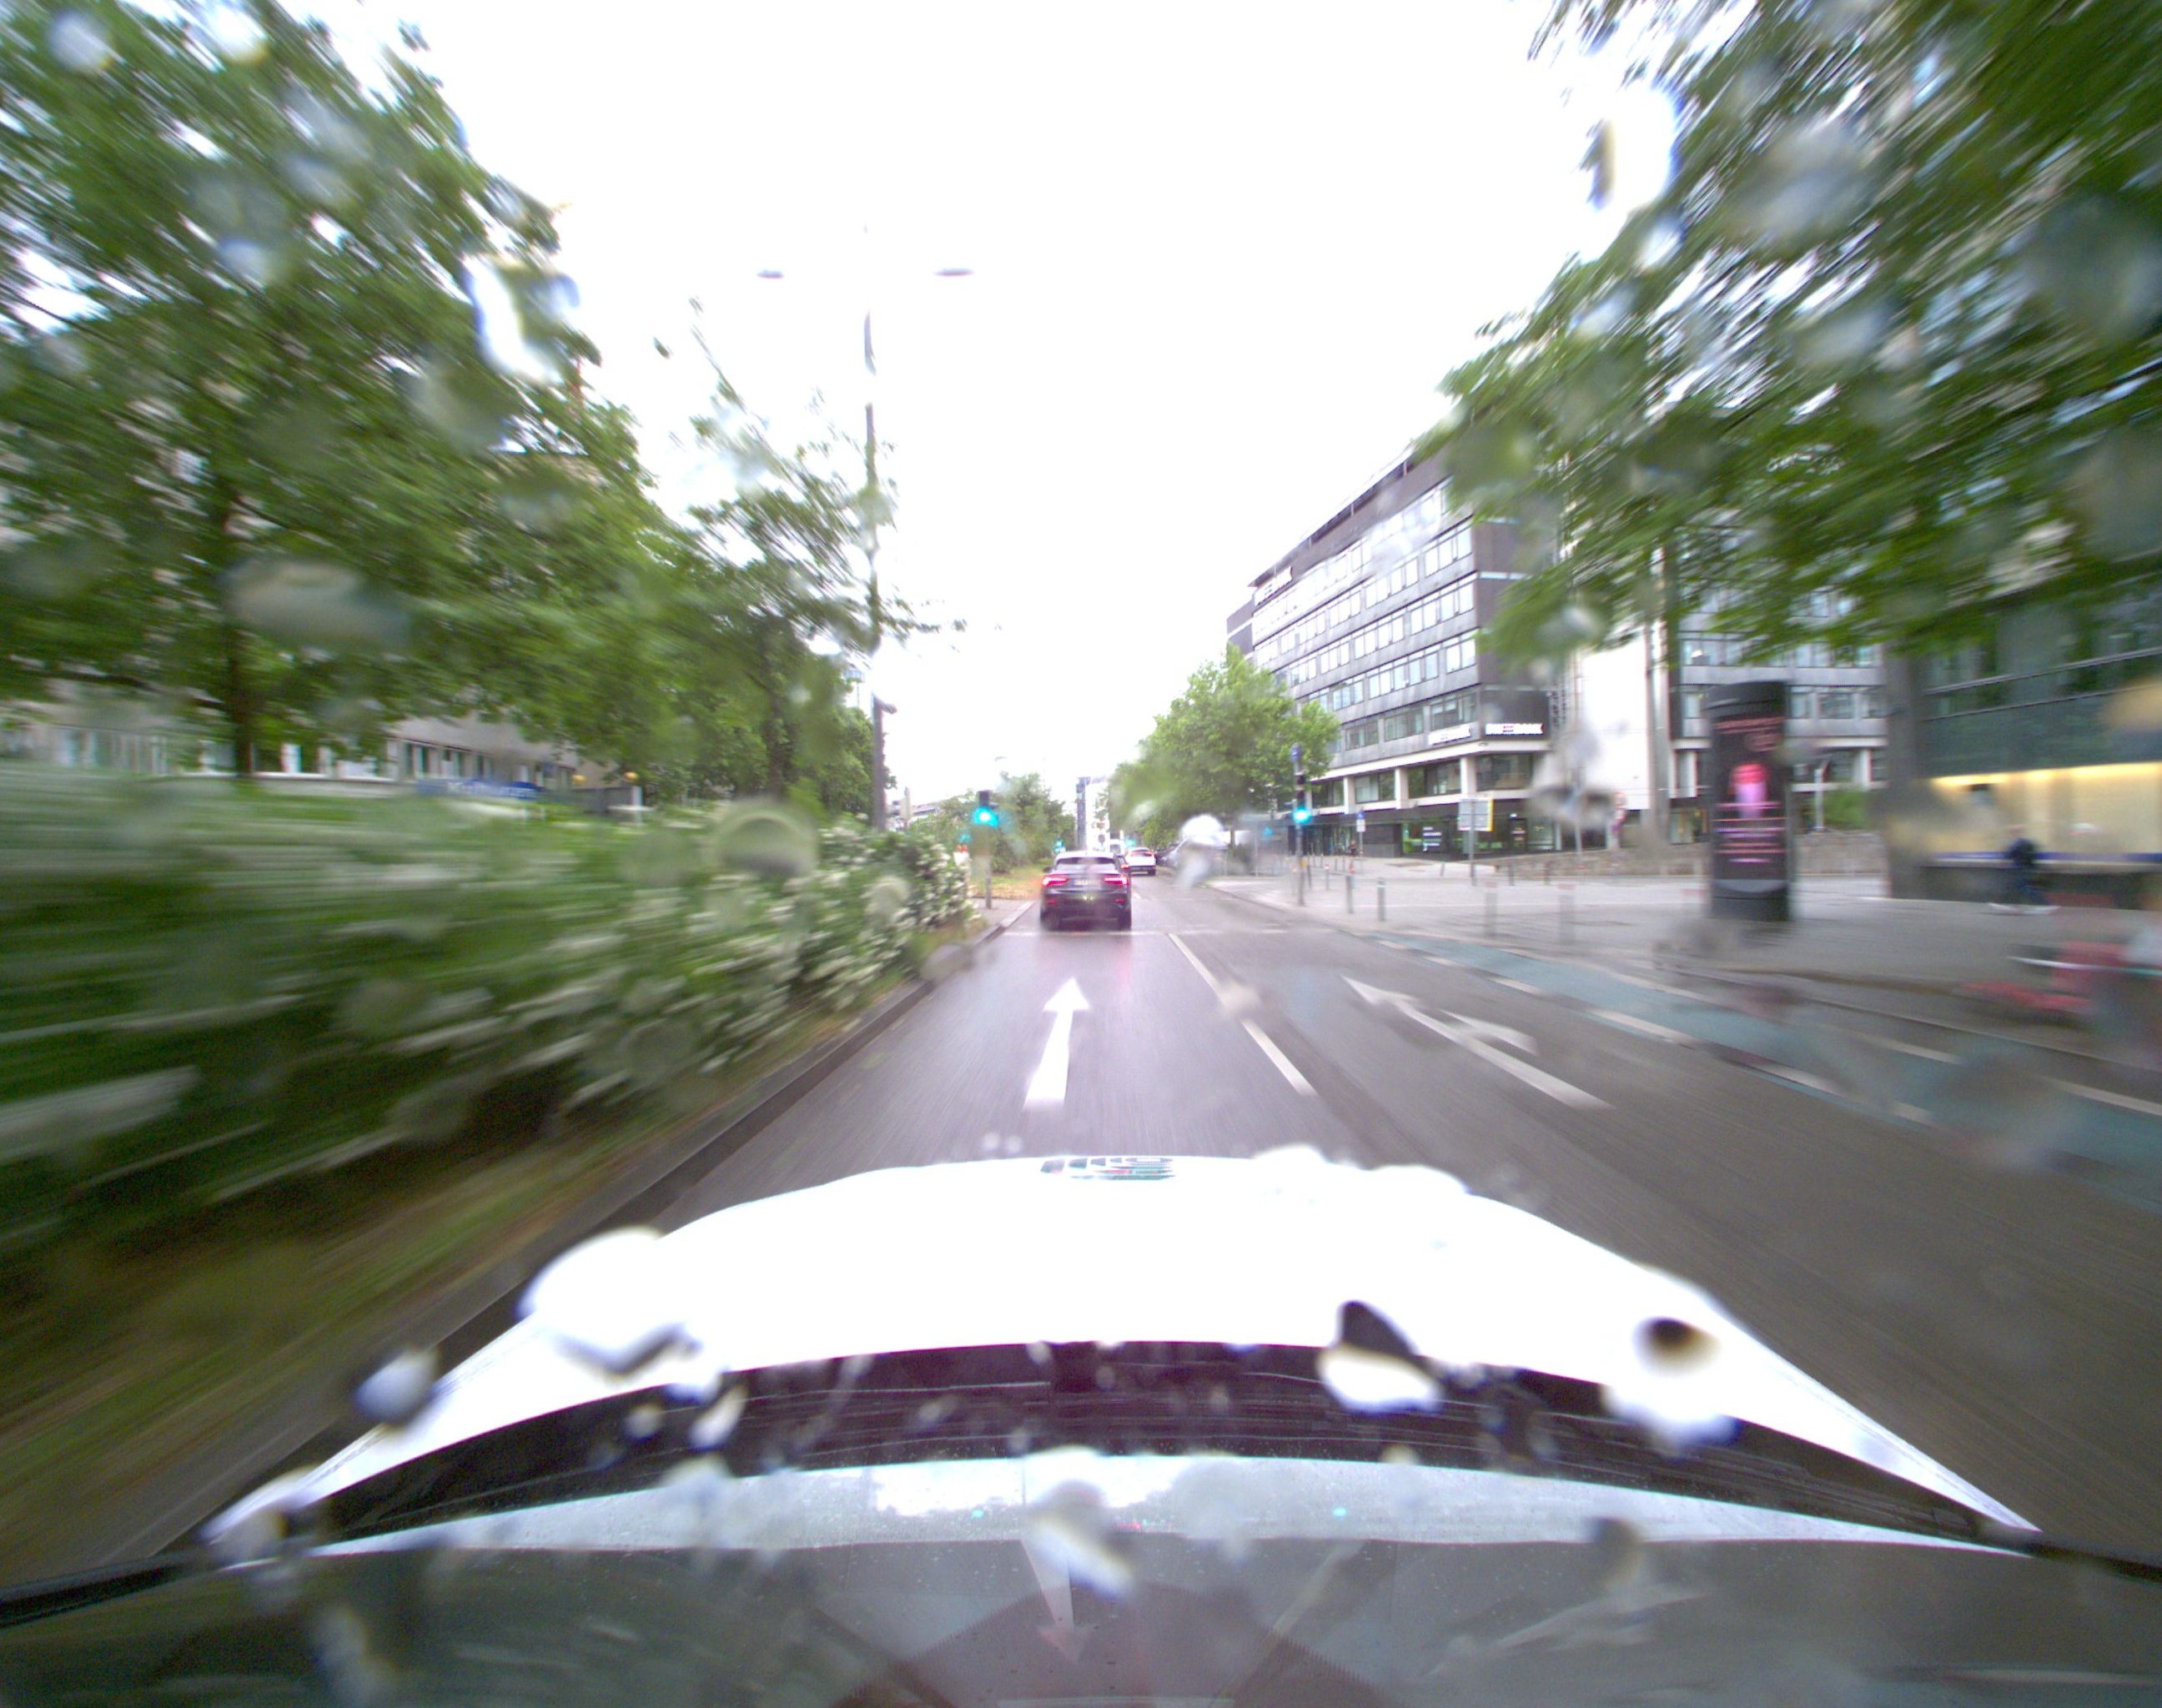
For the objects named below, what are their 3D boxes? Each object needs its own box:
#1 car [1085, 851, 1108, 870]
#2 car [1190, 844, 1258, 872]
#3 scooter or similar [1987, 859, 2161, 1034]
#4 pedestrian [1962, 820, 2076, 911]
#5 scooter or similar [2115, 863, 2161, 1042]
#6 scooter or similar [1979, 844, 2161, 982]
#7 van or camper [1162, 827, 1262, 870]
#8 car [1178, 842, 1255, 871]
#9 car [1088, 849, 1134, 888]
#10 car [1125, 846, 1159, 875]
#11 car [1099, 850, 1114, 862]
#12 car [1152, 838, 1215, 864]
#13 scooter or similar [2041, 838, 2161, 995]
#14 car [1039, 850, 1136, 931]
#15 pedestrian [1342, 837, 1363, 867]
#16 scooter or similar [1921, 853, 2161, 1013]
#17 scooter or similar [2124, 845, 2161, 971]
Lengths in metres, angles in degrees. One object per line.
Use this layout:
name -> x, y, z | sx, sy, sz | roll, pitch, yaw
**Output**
car -> 1.294, 0.544, 68.477 | 1.843, 1.523, 4.039 | -1, 0, 1
car -> 8.245, 0.234, 46.956 | 3.618, 1.547, 1.723 | -1, 0, 20
scooter or similar -> 7.988, 0.697, 6.277 | 1.280, 1.259, 0.491 | -3, 1, 12
pedestrian -> 19.832, 0.242, 17.260 | 0.914, 1.850, 1.276 | -1, -1, -1
scooter or similar -> 8.348, 0.686, 5.739 | 1.280, 1.259, 0.491 | -3, 1, 12
scooter or similar -> 9.557, 0.521, 7.744 | 0.487, 1.198, 1.290 | -1, -1, -8
van or camper -> 8.495, -0.344, 52.915 | 6.008, 2.558, 2.117 | -2, 0, 28
car -> 8.256, 0.165, 49.600 | 4.217, 1.667, 1.829 | -1, 0, 27
car -> 1.263, 0.588, 34.938 | 1.843, 1.523, 4.039 | -1, 0, 1
car -> 3.655, 0.374, 49.636 | 1.843, 1.669, 4.039 | -1, 0, 1
car -> 3.239, 0.245, 105.059 | 1.843, 1.523, 4.039 | -1, 0, 1
car -> 8.810, -0.242, 69.749 | 4.891, 1.978, 1.941 | -3, 0, 26
scooter or similar -> 9.133, 0.517, 6.893 | 0.486, 1.259, 1.294 | -3, 2, 1
car -> 0.143, 0.706, 17.662 | 1.843, 1.523, 4.038 | -1, 0, 0
pedestrian -> 15.805, -0.116, 47.508 | 0.803, 1.696, 1.187 | -1, 0, -1
scooter or similar -> 8.077, 0.660, 6.887 | 1.280, 1.259, 0.491 | -3, 1, 12
scooter or similar -> 10.718, 0.503, 7.505 | 0.490, 1.198, 1.281 | -1, -1, -30
